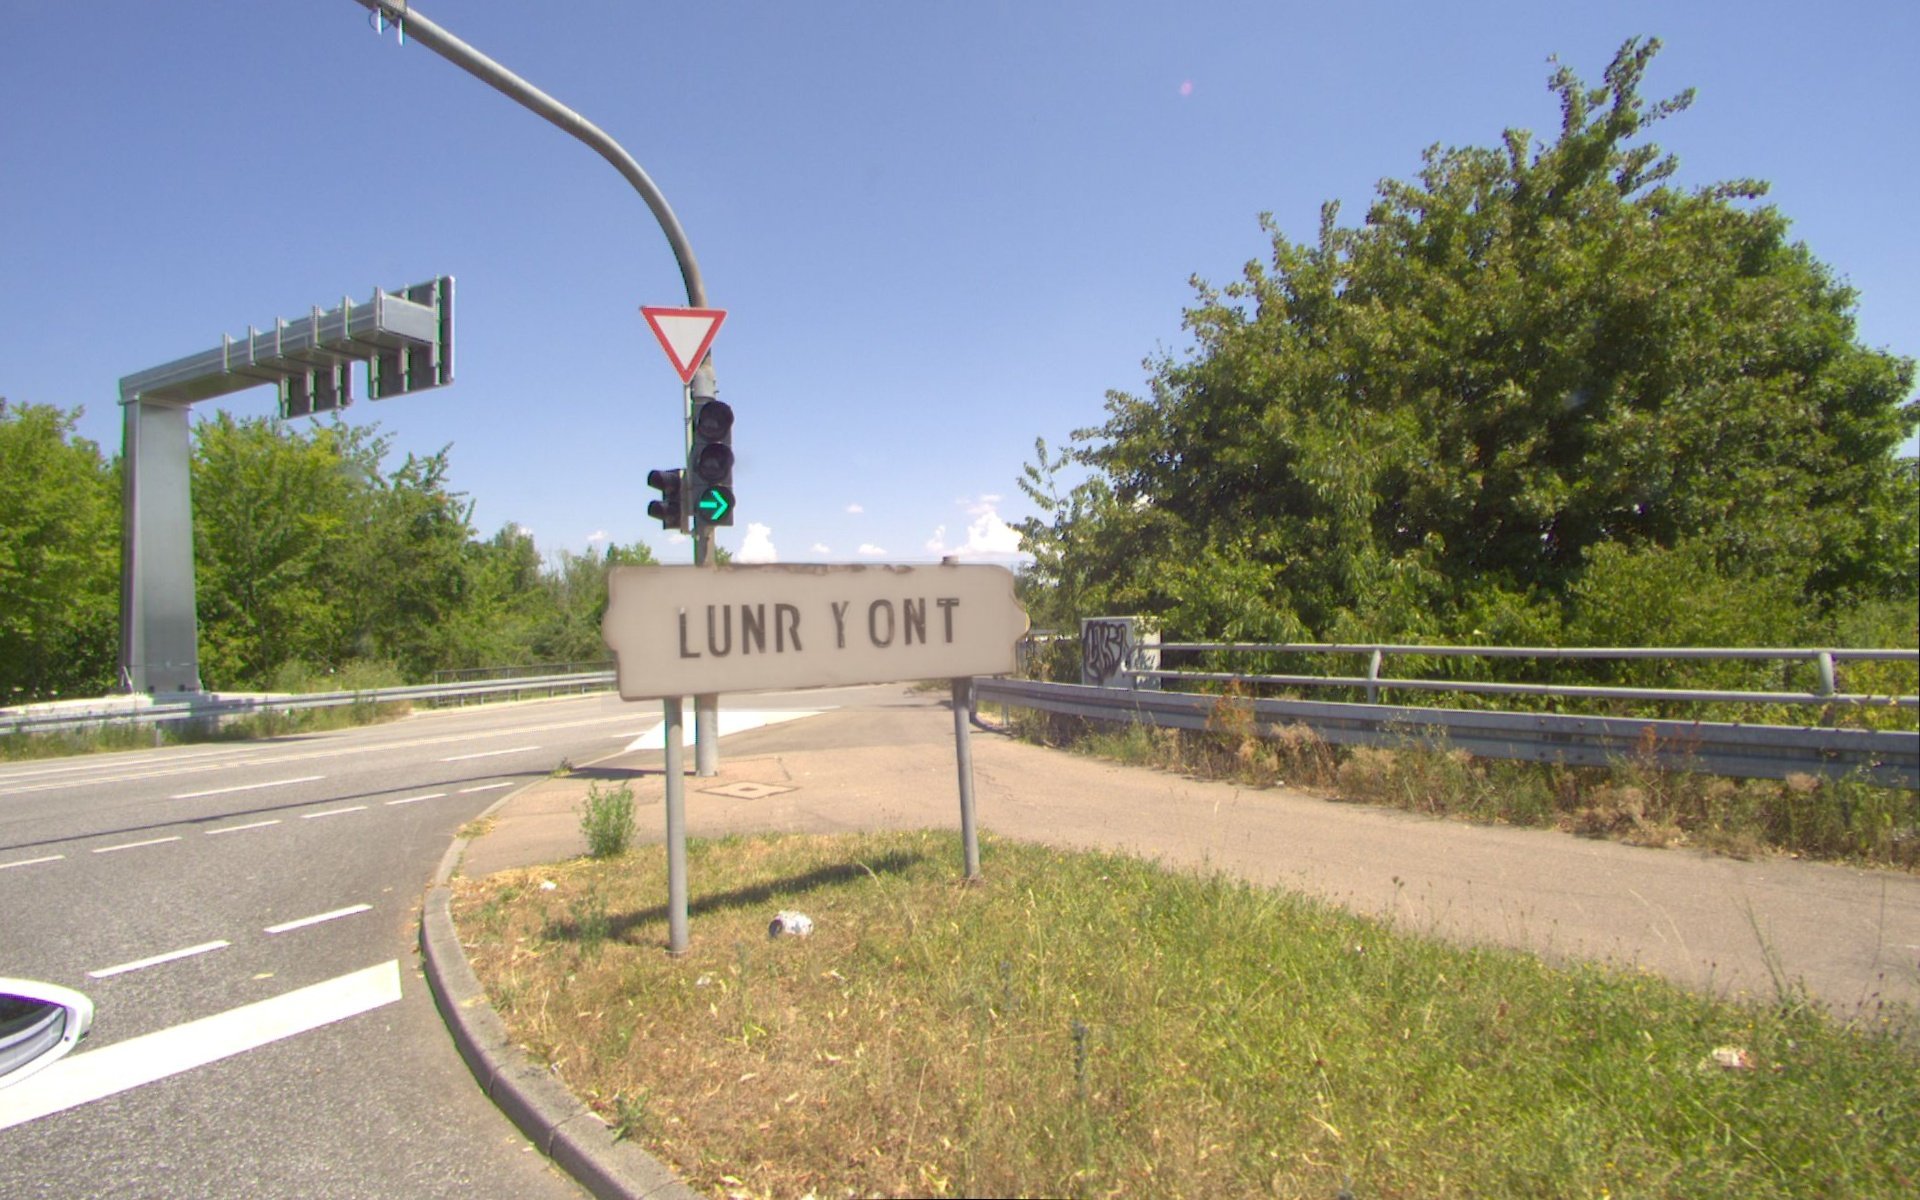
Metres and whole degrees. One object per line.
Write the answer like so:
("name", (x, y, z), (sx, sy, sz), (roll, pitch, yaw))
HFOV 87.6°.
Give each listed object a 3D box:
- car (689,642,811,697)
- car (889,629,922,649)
("car", (-6.228, 2.047, 30.122), (1.624, 1.369, 3.958), (-3, -1, 22))
("car", (-4.788, 3.454, 87.206), (1.810, 1.502, 4.834), (-3, -3, -16))
